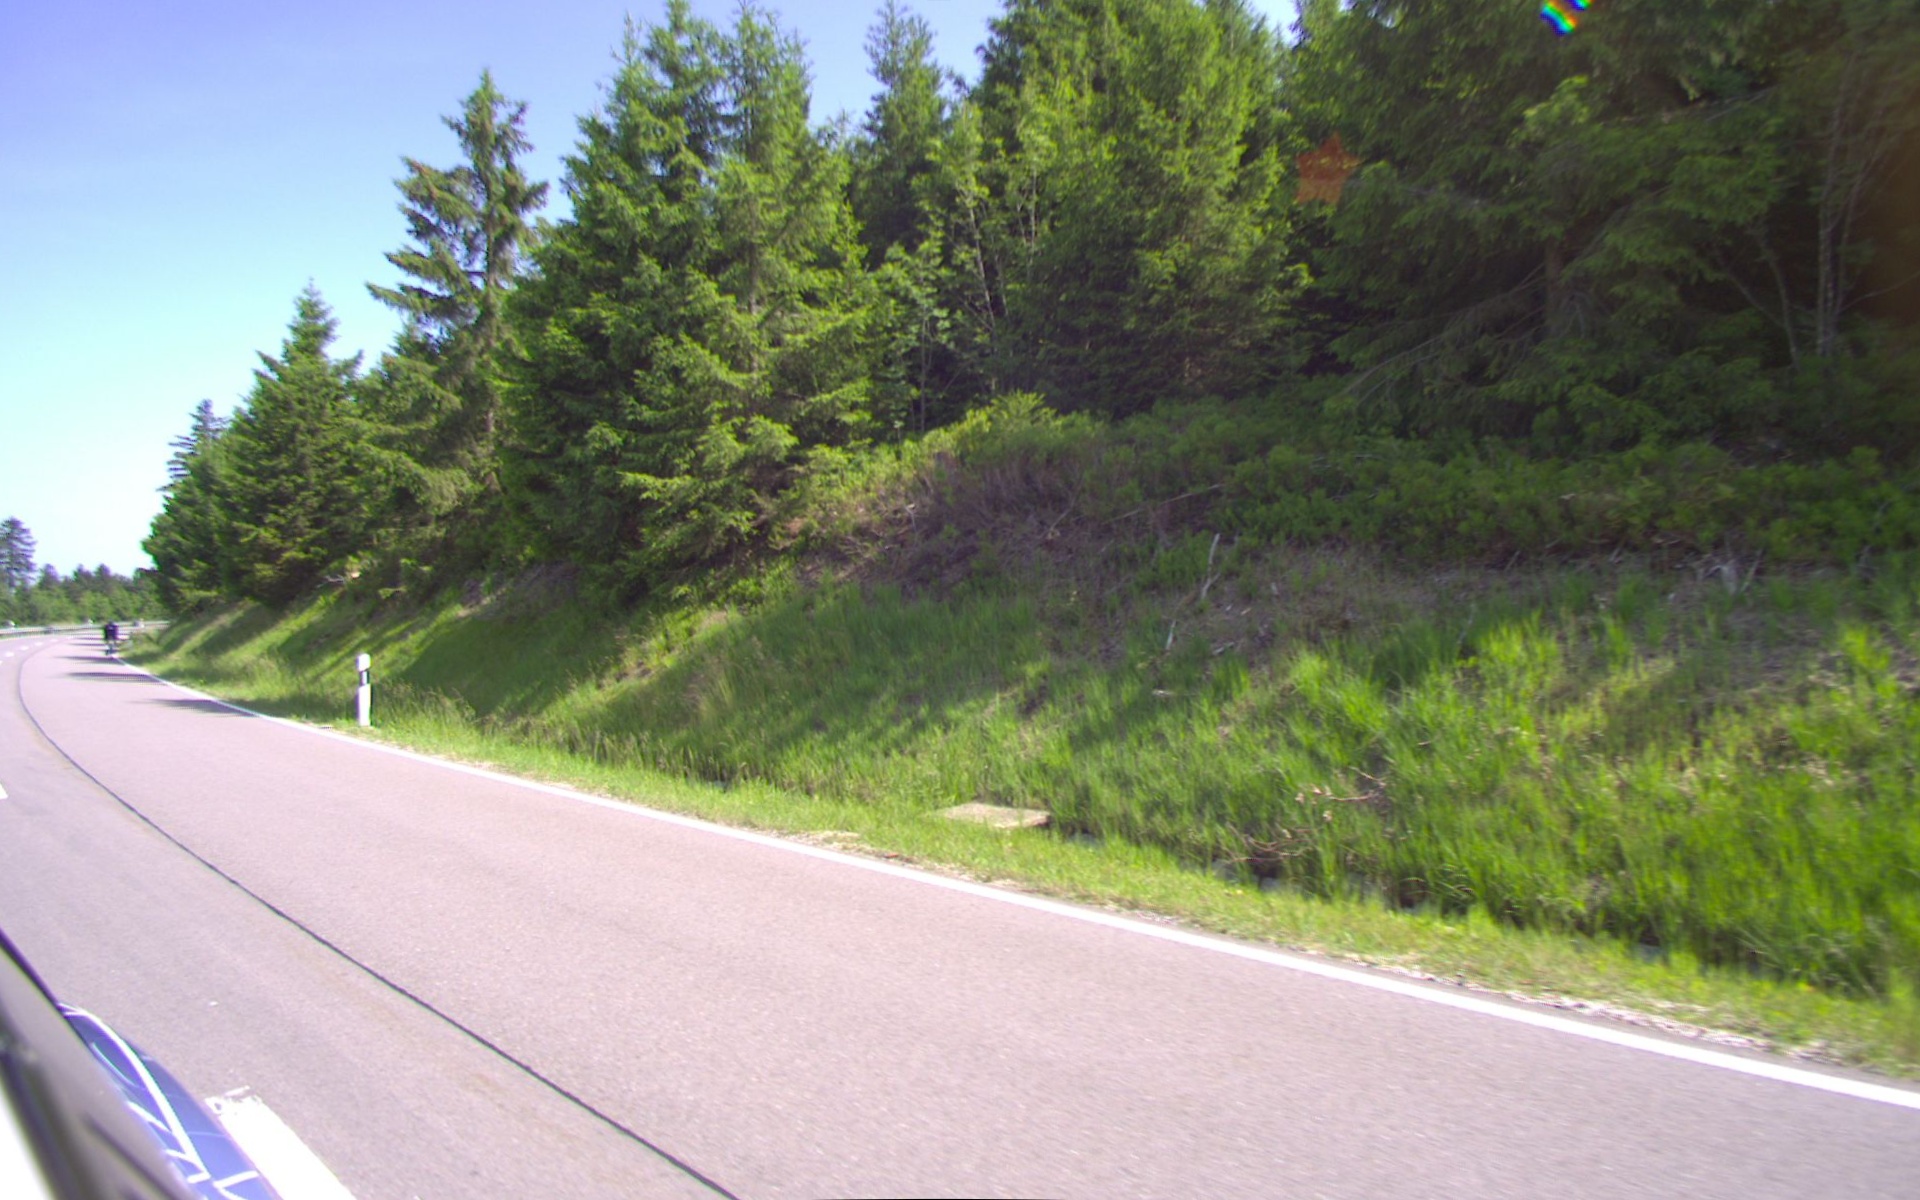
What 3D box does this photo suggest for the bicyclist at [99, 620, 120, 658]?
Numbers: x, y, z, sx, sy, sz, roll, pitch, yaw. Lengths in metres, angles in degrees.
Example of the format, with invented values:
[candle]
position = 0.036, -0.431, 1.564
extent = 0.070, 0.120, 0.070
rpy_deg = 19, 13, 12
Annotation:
[bicyclist]
position = -33.455, 1.538, 39.818
extent = 0.535, 1.462, 0.984
rpy_deg = 2, -3, -43

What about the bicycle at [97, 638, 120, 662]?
[bicycle]
position = -33.439, 1.952, 39.737
extent = 0.546, 0.893, 2.064
rpy_deg = 2, -3, -43
